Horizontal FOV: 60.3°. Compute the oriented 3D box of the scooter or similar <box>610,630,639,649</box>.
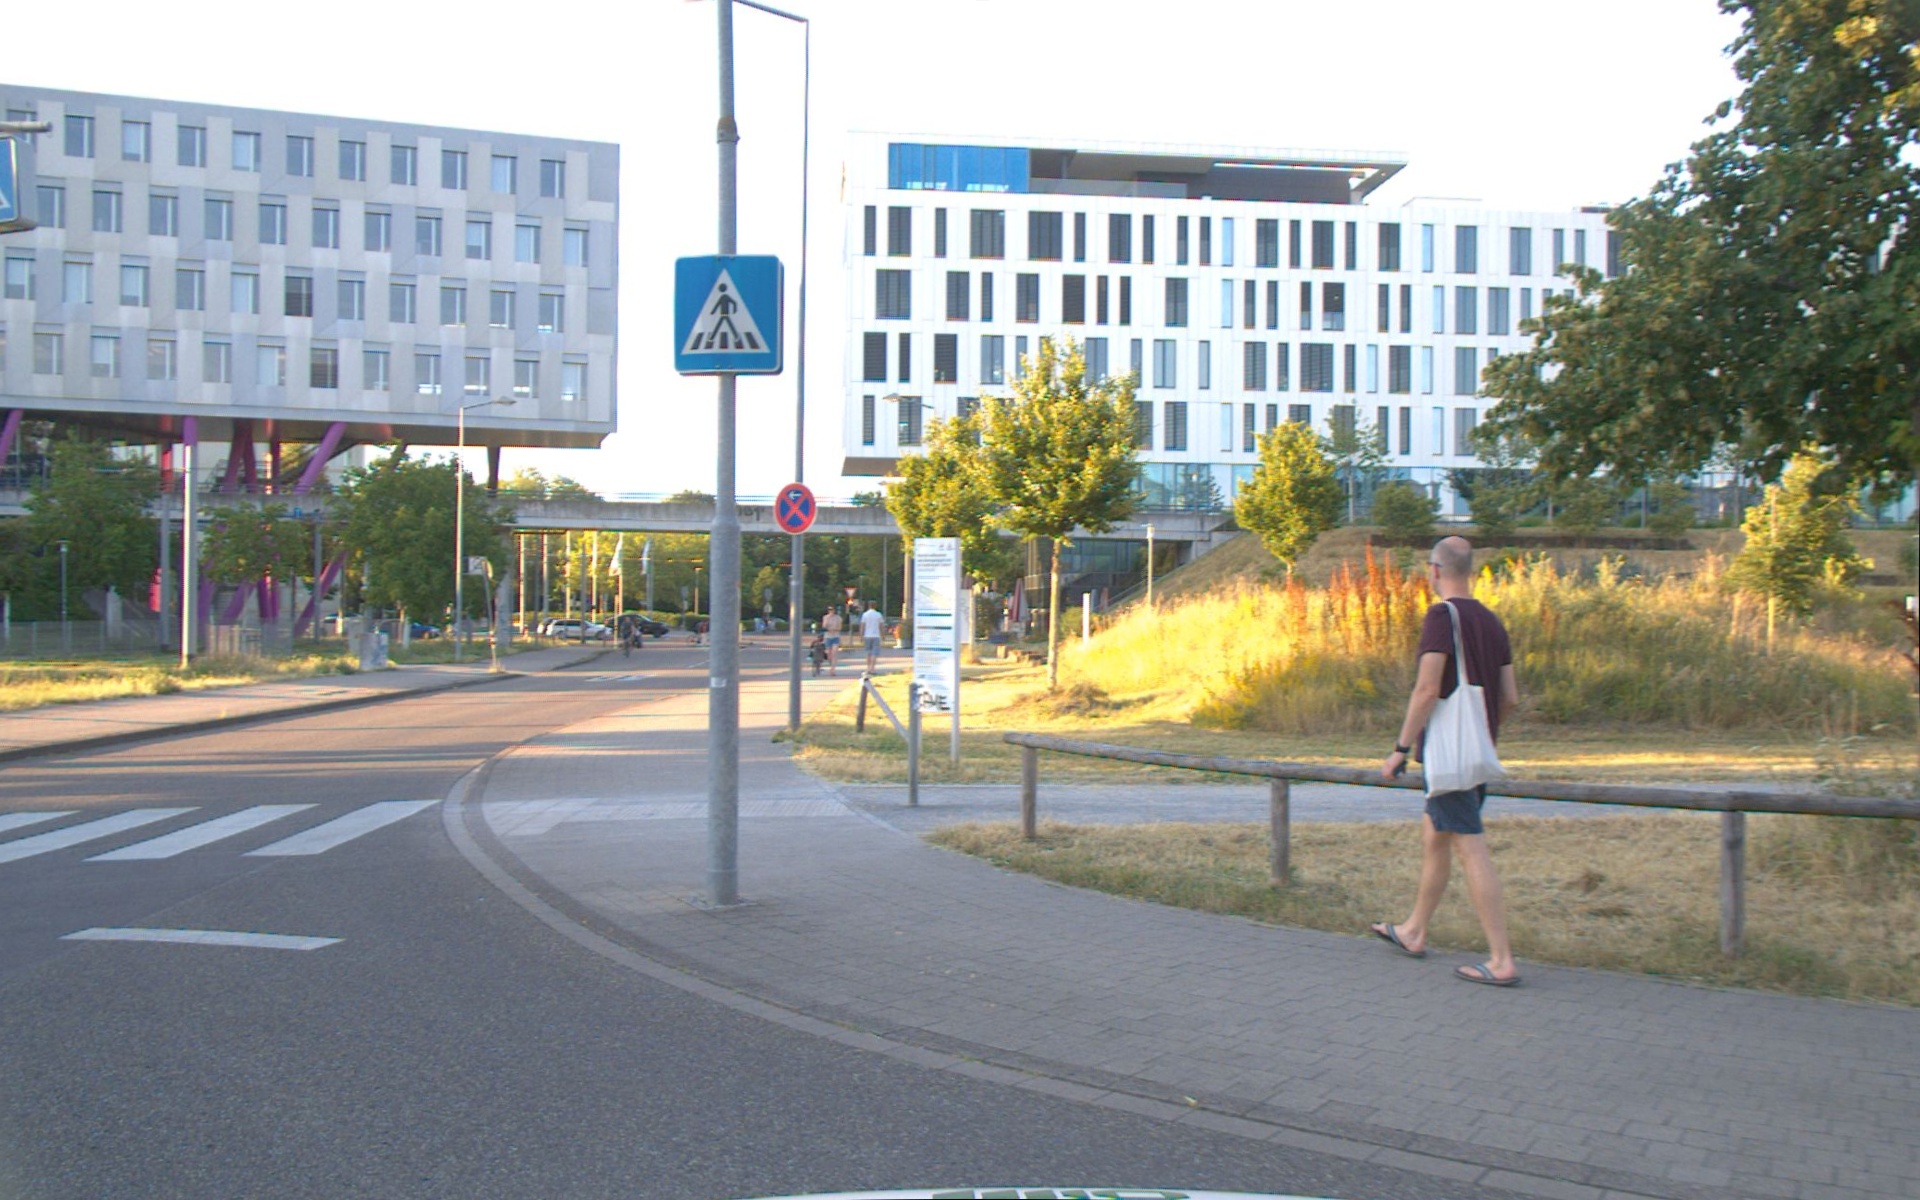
[{"bbox_3d":[-21.871,2.577,107.937,1.828,1.194,0.761,0,0,-14],"label":"scooter or similar"}]

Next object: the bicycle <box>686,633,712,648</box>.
[{"bbox_3d":[-17.076,2.661,108.292,1.663,0.965,0.510,0,0,-12],"label":"bicycle"}]

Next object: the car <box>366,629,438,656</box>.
[{"bbox_3d":[-39.167,2.975,116.255,4.634,1.860,1.885,0,0,-15],"label":"car"}]

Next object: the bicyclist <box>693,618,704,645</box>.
[{"bbox_3d":[-17.121,2.049,108.279,0.752,1.734,0.511,0,0,-9],"label":"bicyclist"}]

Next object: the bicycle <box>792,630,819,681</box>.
[{"bbox_3d":[-3.762,1.341,40.435,0.440,1.189,1.941,0,0,1],"label":"bicycle"}]

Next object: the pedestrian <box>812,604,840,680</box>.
[{"bbox_3d":[-3.269,1.014,40.303,0.582,1.833,0.818,0,0,2],"label":"pedestrian"}]

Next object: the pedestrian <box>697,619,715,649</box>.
[{"bbox_3d":[-16.163,2.163,105.271,1.037,1.866,0.890,0,0,-19],"label":"pedestrian"}]

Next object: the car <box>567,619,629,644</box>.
[{"bbox_3d":[-27.232,2.383,124.440,4.327,1.831,1.833,0,0,-5],"label":"car"}]

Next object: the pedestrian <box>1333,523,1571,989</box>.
[{"bbox_3d":[2.015,0.609,6.863,0.717,1.815,0.801,0,0,-3],"label":"pedestrian"}]

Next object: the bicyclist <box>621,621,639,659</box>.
[{"bbox_3d":[-14.765,1.775,73.971,0.602,1.691,1.036,0,0,0],"label":"bicyclist"}]

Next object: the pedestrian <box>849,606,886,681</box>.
[{"bbox_3d":[-2.275,1.058,40.607,0.814,1.797,0.818,0,0,2],"label":"pedestrian"}]

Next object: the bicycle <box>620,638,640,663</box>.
[{"bbox_3d":[-14.760,2.265,73.996,0.527,1.061,1.925,0,0,0],"label":"bicycle"}]

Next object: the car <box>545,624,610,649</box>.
[{"bbox_3d":[-27.353,2.626,118.379,4.330,1.755,1.832,0,0,-7],"label":"car"}]

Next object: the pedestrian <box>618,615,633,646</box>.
[{"bbox_3d":[-21.822,1.979,107.961,0.893,2.025,0.769,0,0,-14],"label":"pedestrian"}]
